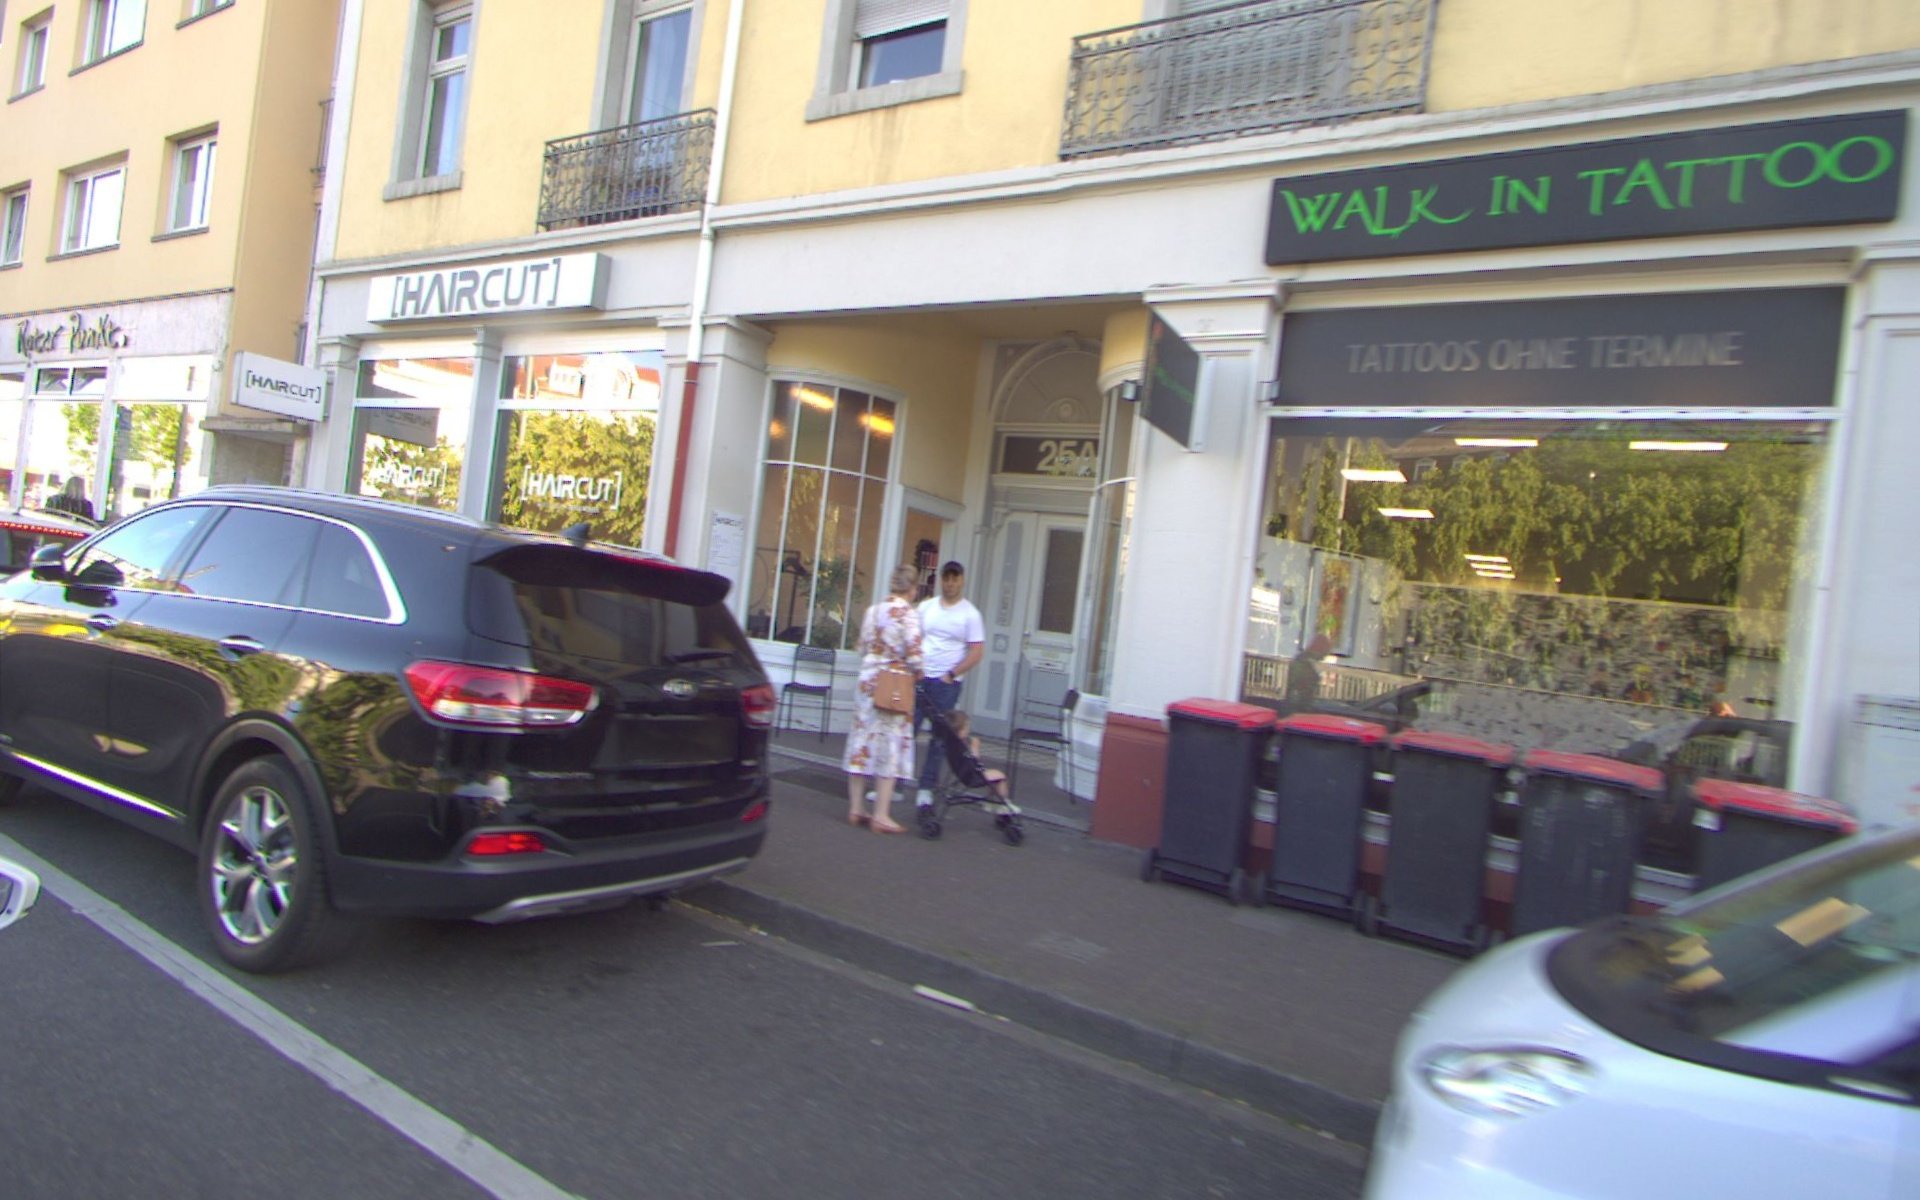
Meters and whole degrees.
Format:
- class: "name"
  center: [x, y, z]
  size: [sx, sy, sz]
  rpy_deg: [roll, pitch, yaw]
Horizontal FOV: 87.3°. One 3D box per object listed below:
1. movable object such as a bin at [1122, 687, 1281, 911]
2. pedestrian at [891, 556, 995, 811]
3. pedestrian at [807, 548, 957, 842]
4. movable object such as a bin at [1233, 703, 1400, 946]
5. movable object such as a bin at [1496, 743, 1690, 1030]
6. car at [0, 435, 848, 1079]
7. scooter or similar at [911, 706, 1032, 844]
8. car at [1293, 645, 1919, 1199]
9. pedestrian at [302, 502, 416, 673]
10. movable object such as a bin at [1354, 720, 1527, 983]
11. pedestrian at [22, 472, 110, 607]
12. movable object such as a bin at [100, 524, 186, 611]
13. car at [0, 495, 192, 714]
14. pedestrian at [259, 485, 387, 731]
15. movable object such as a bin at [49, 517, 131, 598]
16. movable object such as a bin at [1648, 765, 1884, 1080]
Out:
- class: "movable object such as a bin"
  center: [1.374, 1.086, 5.704]
  size: [0.609, 1.080, 0.605]
  rpy_deg: [7, 3, 32]
- class: "pedestrian"
  center: [-0.108, 0.569, 7.013]
  size: [0.514, 1.681, 0.338]
  rpy_deg: [7, 1, 2]
- class: "pedestrian"
  center: [-0.481, 0.565, 6.211]
  size: [0.583, 1.681, 0.450]
  rpy_deg: [7, 1, 33]
- class: "movable object such as a bin"
  center: [1.902, 1.147, 5.352]
  size: [0.609, 1.080, 0.605]
  rpy_deg: [7, 3, 32]
- class: "movable object such as a bin"
  center: [2.929, 1.278, 4.694]
  size: [0.609, 1.080, 0.605]
  rpy_deg: [7, 3, 32]
- class: "car"
  center: [-2.975, 0.341, 4.742]
  size: [4.493, 1.757, 1.759]
  rpy_deg: [7, -1, 28]
- class: "scooter or similar"
  center: [0.071, 1.090, 6.386]
  size: [0.524, 0.768, 0.465]
  rpy_deg: [5, 1, -40]
- class: "car"
  center: [2.156, 1.051, 1.744]
  size: [2.748, 1.536, 1.274]
  rpy_deg: [7, -1, 31]
- class: "pedestrian"
  center: [-6.147, -0.114, 10.308]
  size: [0.523, 1.653, 0.697]
  rpy_deg: [7, 1, 30]
- class: "movable object such as a bin"
  center: [2.408, 1.205, 5.027]
  size: [0.609, 1.080, 0.605]
  rpy_deg: [7, 3, 32]
- class: "pedestrian"
  center: [-11.620, -0.778, 13.074]
  size: [0.618, 1.654, 0.662]
  rpy_deg: [7, 2, 36]
- class: "movable object such as a bin"
  center: [-11.074, -0.436, 13.640]
  size: [0.609, 1.082, 0.703]
  rpy_deg: [7, 3, 32]
- class: "car"
  center: [-8.236, -0.176, 8.035]
  size: [4.389, 1.464, 1.742]
  rpy_deg: [7, -1, 31]
- class: "pedestrian"
  center: [-4.861, 0.068, 7.701]
  size: [0.473, 1.783, 0.435]
  rpy_deg: [7, -1, -2]
- class: "movable object such as a bin"
  center: [-12.558, -0.607, 14.522]
  size: [0.609, 1.082, 0.703]
  rpy_deg: [7, 3, 32]
- class: "movable object such as a bin"
  center: [3.451, 1.339, 4.372]
  size: [0.609, 1.080, 0.605]
  rpy_deg: [7, 3, 32]
